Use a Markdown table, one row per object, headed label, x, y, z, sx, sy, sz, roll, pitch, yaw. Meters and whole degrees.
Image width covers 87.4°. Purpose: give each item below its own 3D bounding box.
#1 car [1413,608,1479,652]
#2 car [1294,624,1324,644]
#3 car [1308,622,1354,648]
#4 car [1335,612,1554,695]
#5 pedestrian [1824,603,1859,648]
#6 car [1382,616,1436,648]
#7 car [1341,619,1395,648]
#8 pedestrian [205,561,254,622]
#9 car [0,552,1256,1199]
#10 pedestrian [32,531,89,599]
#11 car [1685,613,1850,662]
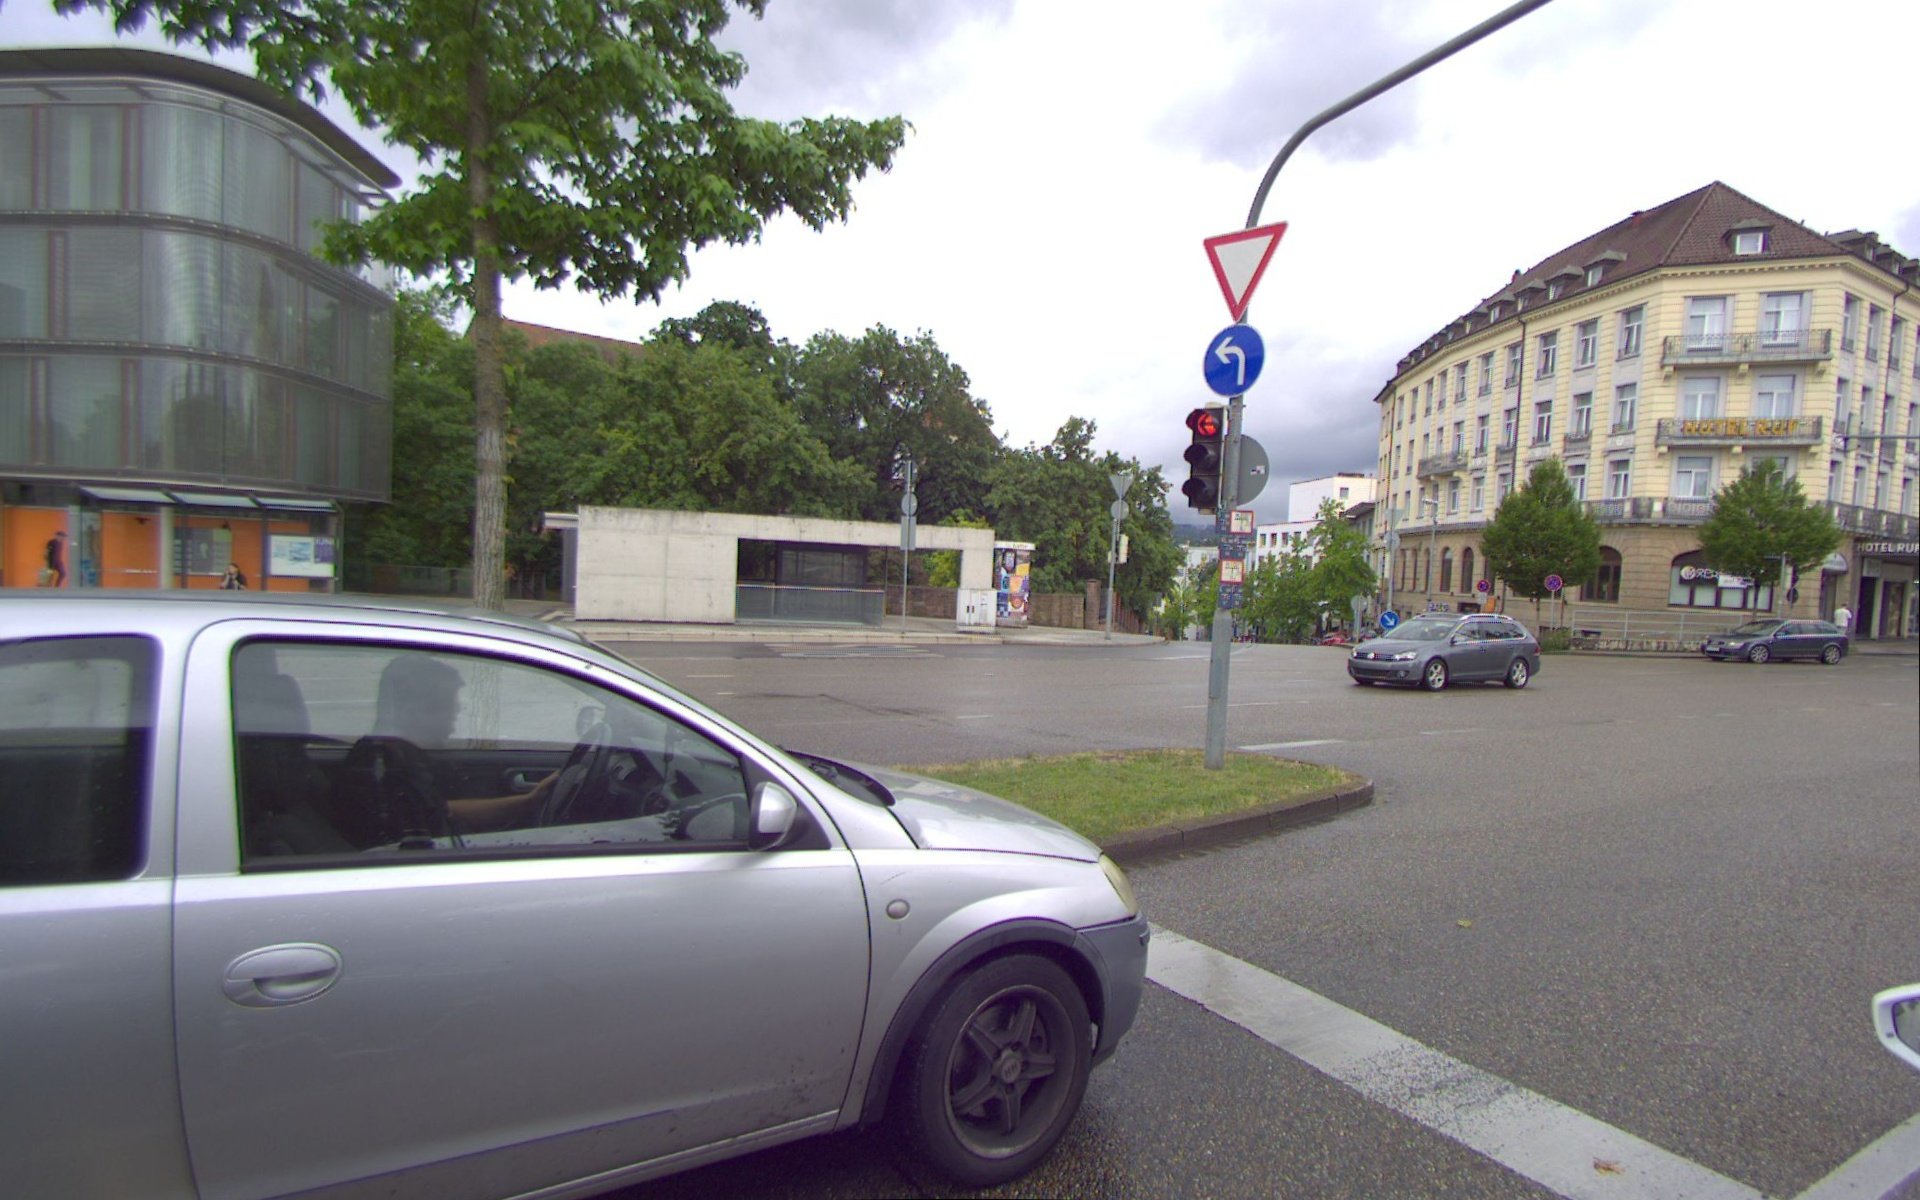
| label | x | y | z | sx | sy | sz | roll | pitch | yaw |
| --- | --- | --- | --- | --- | --- | --- | --- | --- | --- |
| car | 21.786 | 1.292 | 45.177 | 1.602 | 1.783 | 4.002 | 2 | 1 | 10 |
| car | 28.810 | 2.828 | 83.001 | 1.734 | 1.498 | 4.002 | 2 | 0 | 11 |
| car | 23.256 | 2.155 | 63.119 | 1.734 | 1.498 | 4.012 | 2 | 0 | 6 |
| car | 9.782 | 1.058 | 20.220 | 4.396 | 1.485 | 1.688 | 2 | 0 | -28 |
| pedestrian | 36.327 | 1.046 | 41.410 | 0.741 | 1.837 | 0.875 | 2 | 0 | -30 |
| car | 22.988 | 1.601 | 51.534 | 1.602 | 1.417 | 4.002 | 2 | 1 | 10 |
| car | 23.056 | 1.872 | 56.909 | 1.734 | 1.498 | 4.002 | 2 | 0 | 6 |
| pedestrian | -16.178 | -0.188 | 22.258 | 0.710 | 1.316 | 0.665 | 2 | 0 | -25 |
| car | -1.196 | 0.686 | 2.519 | 3.678 | 1.485 | 1.685 | 2 | 0 | -32 |
| pedestrian | -24.522 | -0.945 | 27.383 | 0.809 | 1.779 | 0.786 | 2 | 1 | -1 |
| car | 26.985 | 1.244 | 33.619 | 4.368 | 1.485 | 1.698 | 2 | 0 | -6 |
